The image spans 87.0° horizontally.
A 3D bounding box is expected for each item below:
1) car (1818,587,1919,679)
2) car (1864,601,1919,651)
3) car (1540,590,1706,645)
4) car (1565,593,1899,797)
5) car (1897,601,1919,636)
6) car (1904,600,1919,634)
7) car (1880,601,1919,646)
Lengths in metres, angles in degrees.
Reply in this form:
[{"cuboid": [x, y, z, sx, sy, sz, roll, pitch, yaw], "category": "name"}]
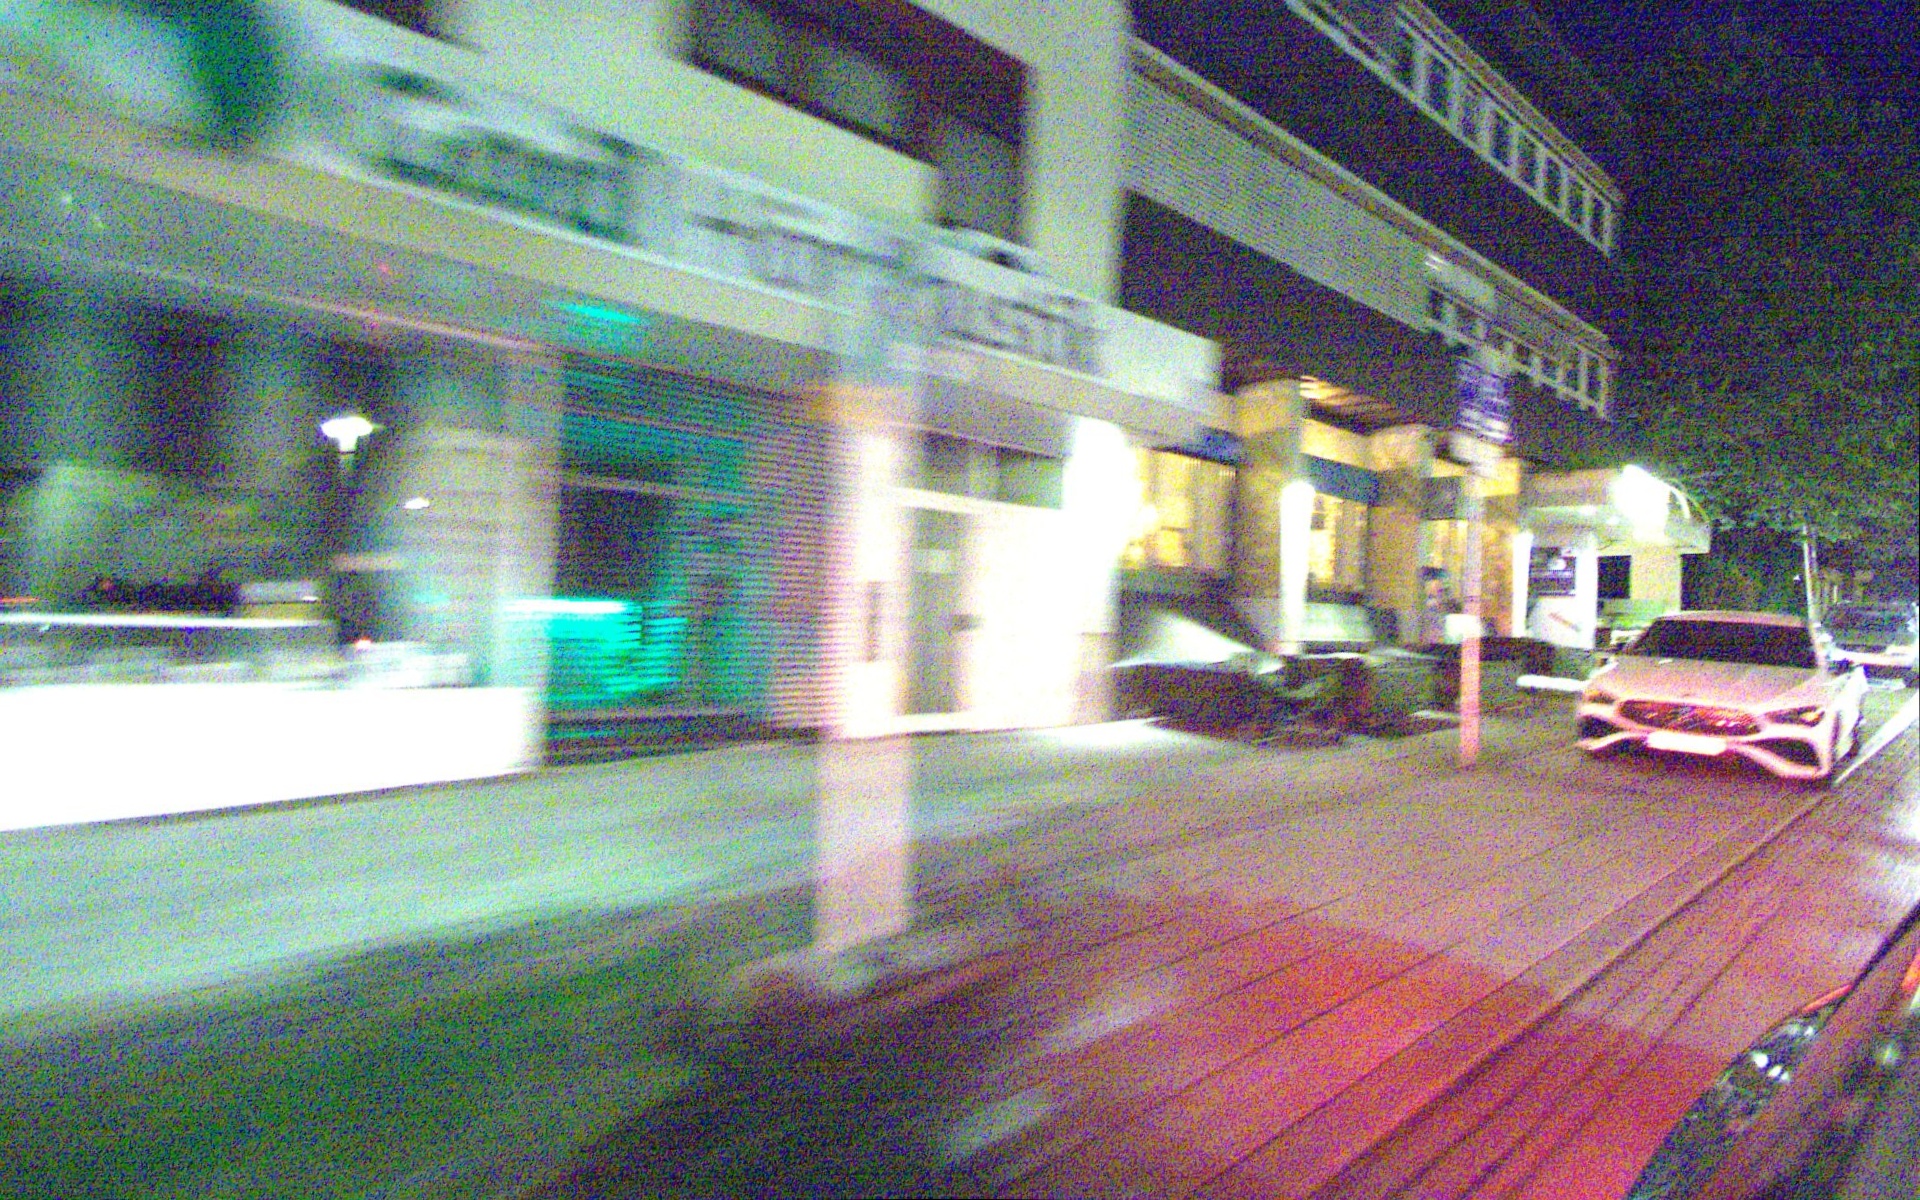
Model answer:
[{"cuboid": [19.073, 0.611, 20.780, 4.307, 1.662, 1.789, 0, 2, -44], "category": "car"}, {"cuboid": [29.419, 0.765, 31.489, 1.779, 1.456, 4.222, -2, -1, 43], "category": "car"}, {"cuboid": [20.788, 0.515, 31.913, 4.010, 1.605, 1.699, 1, 1, 15], "category": "car"}, {"cuboid": [7.611, 0.696, 9.788, 4.518, 1.460, 1.859, 0, 2, -44], "category": "car"}, {"cuboid": [41.168, 0.753, 43.163, 1.761, 1.434, 4.371, -1, 0, 43], "category": "car"}, {"cuboid": [44.612, 0.764, 46.551, 1.638, 1.485, 3.716, -2, -1, 44], "category": "car"}, {"cuboid": [33.142, 0.761, 34.846, 4.532, 1.466, 1.679, 0, -1, -42], "category": "car"}]
